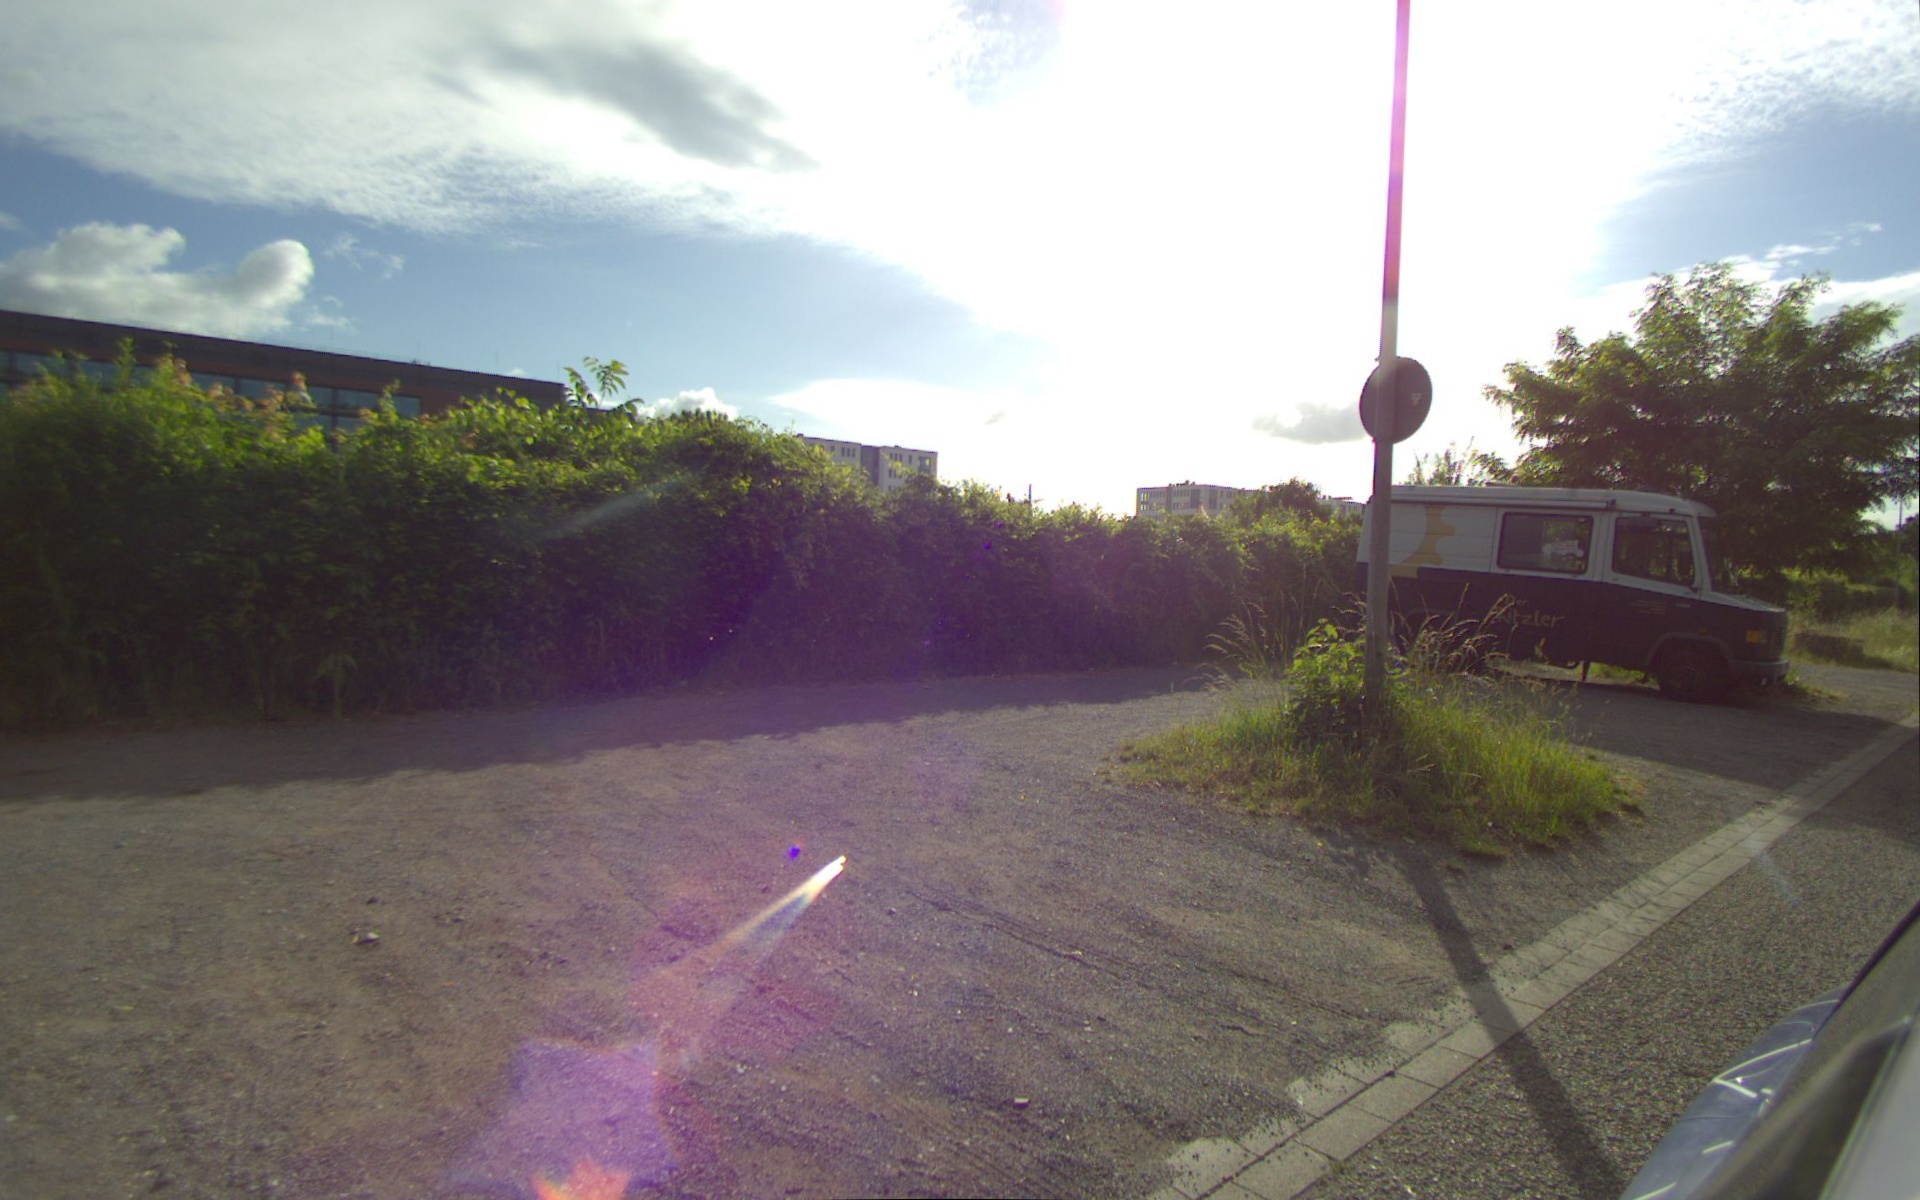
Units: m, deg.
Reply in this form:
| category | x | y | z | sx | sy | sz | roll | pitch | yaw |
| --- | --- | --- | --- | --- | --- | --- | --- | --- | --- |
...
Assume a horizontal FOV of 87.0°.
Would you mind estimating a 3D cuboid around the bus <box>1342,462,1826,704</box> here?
| category | x | y | z | sx | sy | sz | roll | pitch | yaw |
| --- | --- | --- | --- | --- | --- | --- | --- | --- | --- |
| bus | 8.513 | -0.355 | 14.312 | 2.033 | 2.780 | 5.374 | 1 | 3 | -43 |
